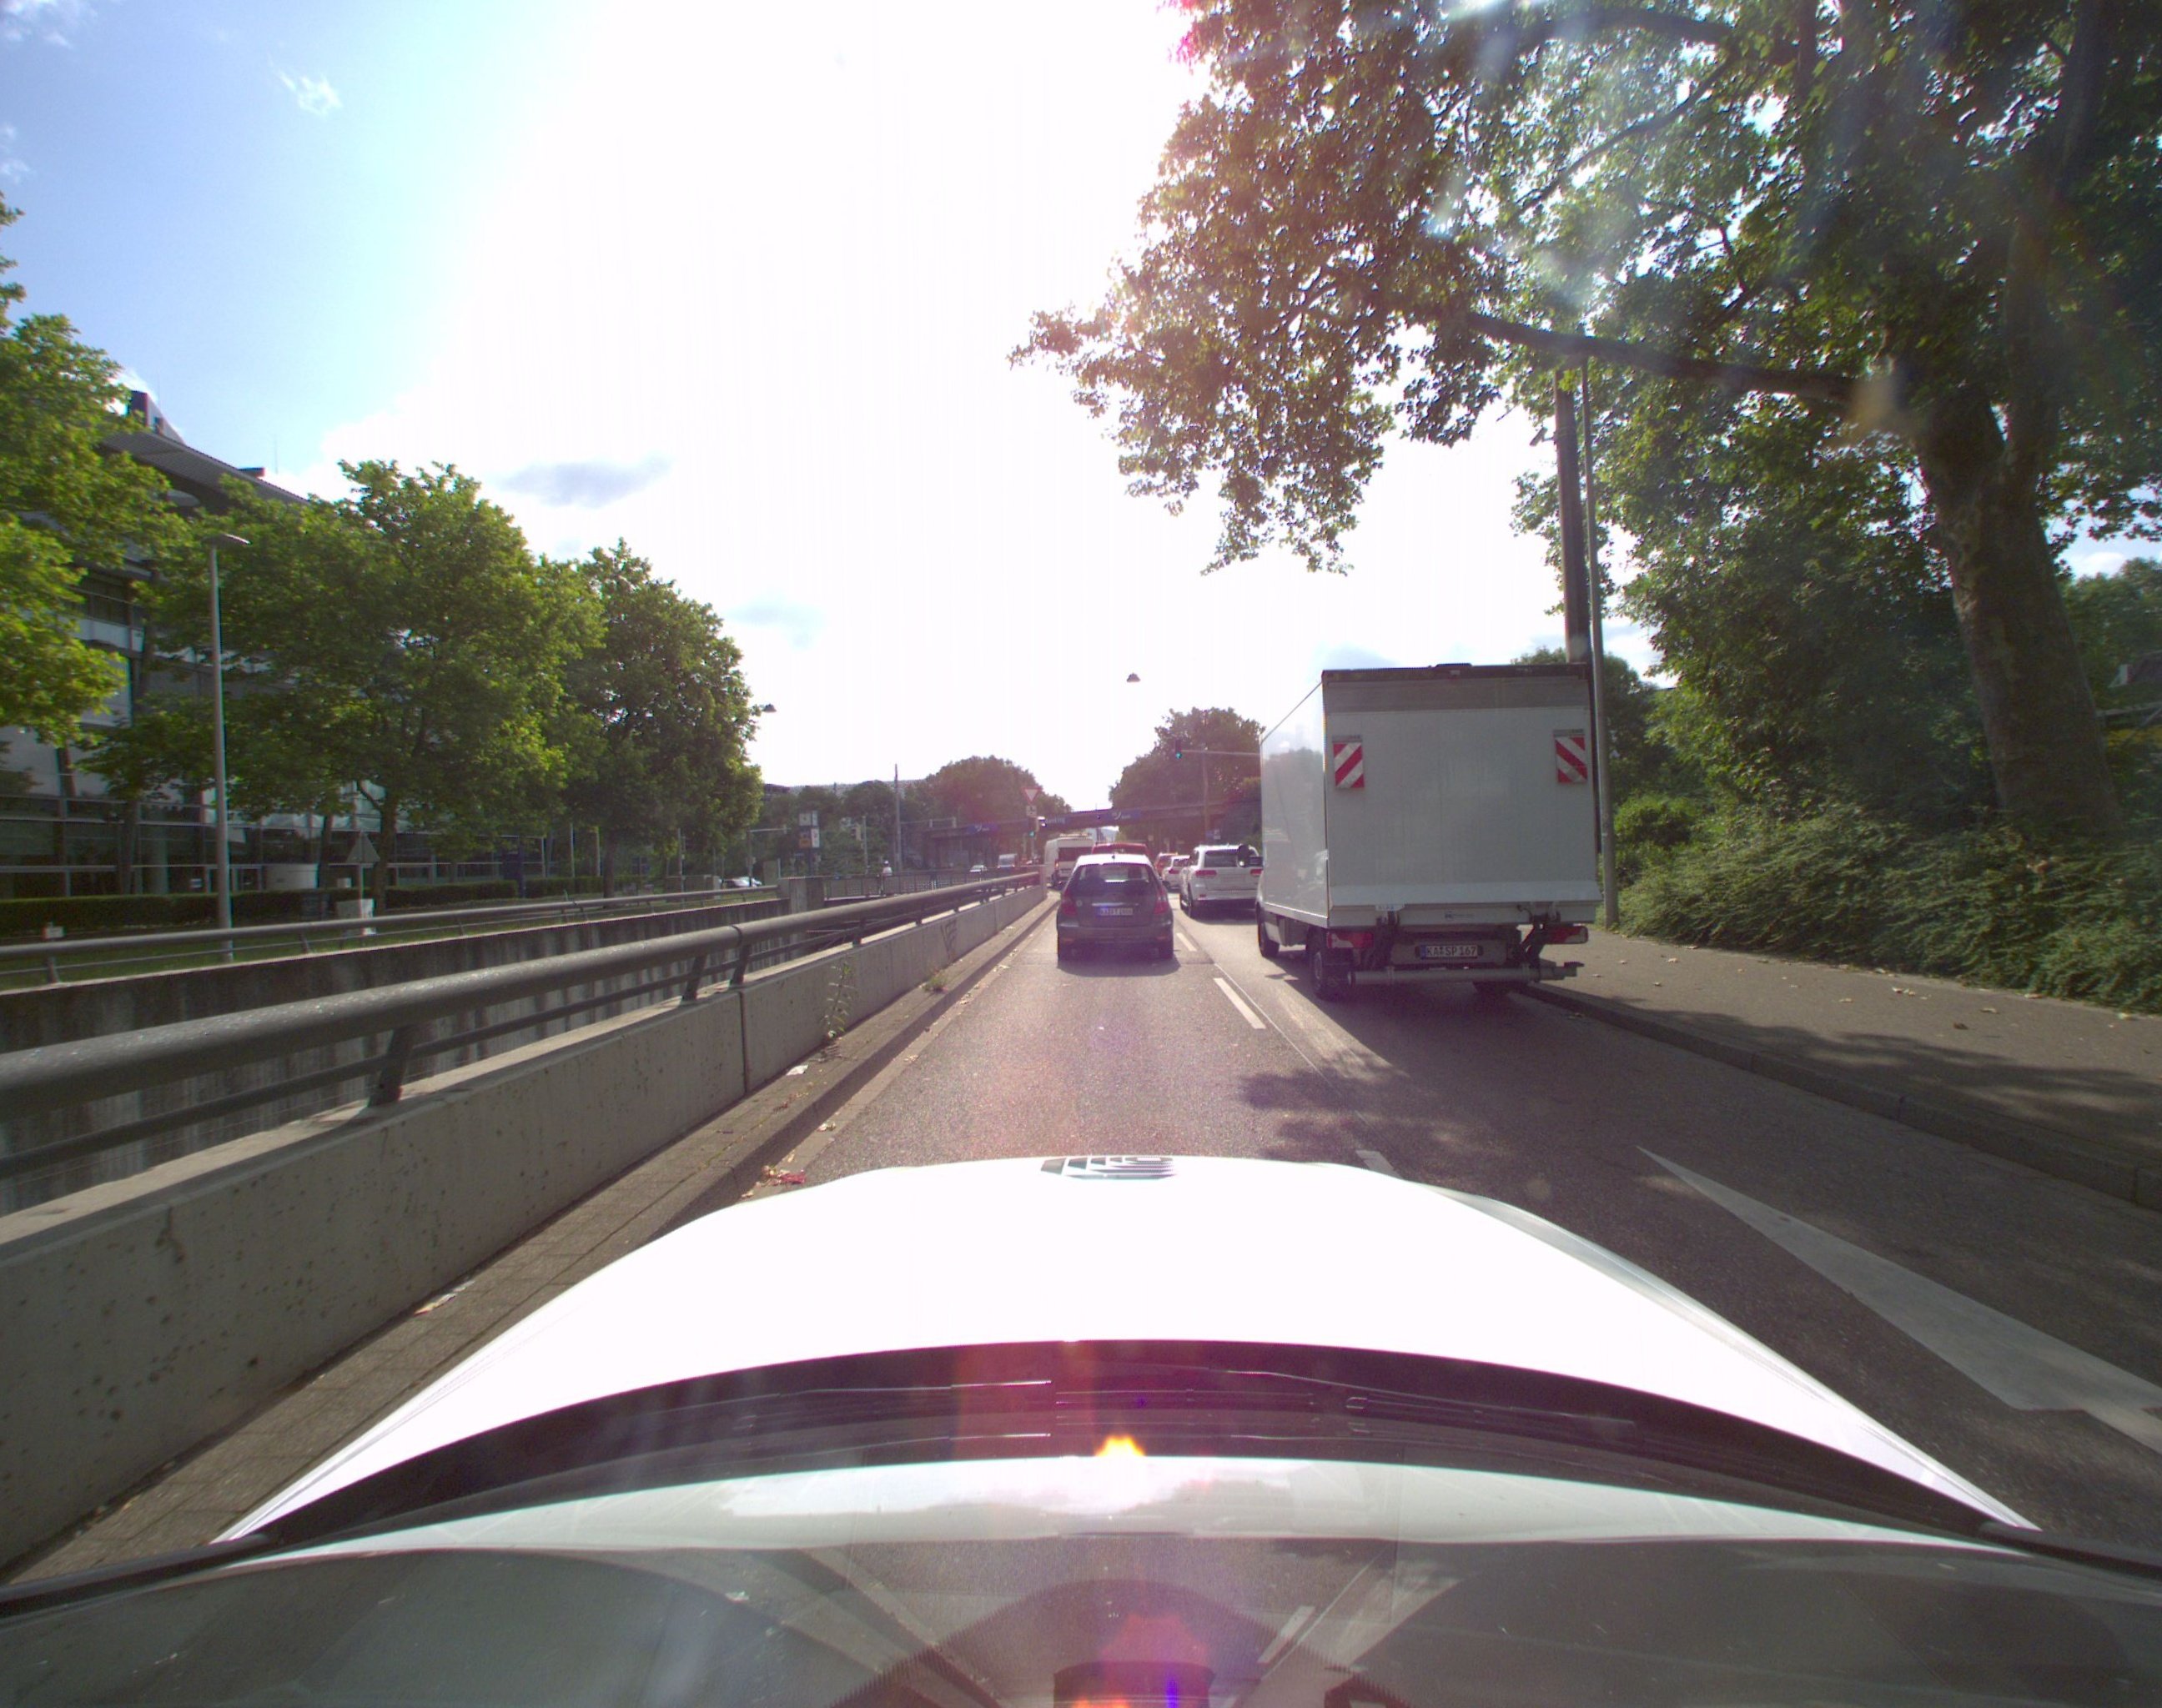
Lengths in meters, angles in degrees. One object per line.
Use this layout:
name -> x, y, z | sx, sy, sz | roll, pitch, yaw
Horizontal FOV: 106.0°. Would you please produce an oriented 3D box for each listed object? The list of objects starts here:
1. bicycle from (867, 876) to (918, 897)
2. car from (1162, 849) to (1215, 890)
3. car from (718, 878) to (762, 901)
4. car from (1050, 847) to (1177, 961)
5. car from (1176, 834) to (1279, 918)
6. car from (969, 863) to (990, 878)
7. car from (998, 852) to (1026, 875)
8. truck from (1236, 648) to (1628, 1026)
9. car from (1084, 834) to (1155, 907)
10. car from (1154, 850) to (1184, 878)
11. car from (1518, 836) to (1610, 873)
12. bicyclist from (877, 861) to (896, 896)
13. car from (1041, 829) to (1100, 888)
bicycle -> -7.767, 1.339, 33.591 | 1.962, 0.826, 0.613 | -2, -1, 5
car -> 4.329, 0.641, 33.321 | 1.844, 1.522, 3.619 | -1, -1, 2
car -> -32.548, 3.373, 77.684 | 3.974, 1.748, 1.989 | 7, 2, 36
car -> 0.549, 0.717, 13.545 | 1.785, 1.608, 3.801 | -1, 0, 2
car -> 3.614, 0.480, 20.914 | 1.987, 1.901, 4.512 | -1, 0, 3
car -> -11.453, 1.877, 92.298 | 1.696, 1.476, 4.001 | -5, -1, 1
car -> -7.977, 1.055, 94.480 | 2.248, 2.526, 5.632 | -2, -1, 4
truck -> 3.500, -0.106, 9.856 | 2.436, 3.121, 6.034 | -1, -1, 4
car -> 1.182, 0.456, 25.114 | 1.948, 2.017, 4.679 | -1, 0, 2
car -> 5.107, 0.616, 47.574 | 1.538, 1.522, 3.619 | -1, -1, 3
car -> 25.734, 0.041, 43.401 | 3.972, 1.749, 1.989 | -3, -1, 36
bicyclist -> -8.030, 1.009, 33.621 | 0.507, 1.404, 0.627 | -3, -1, 6
car -> -0.612, 0.268, 40.864 | 2.197, 2.726, 4.914 | -1, -1, -10
